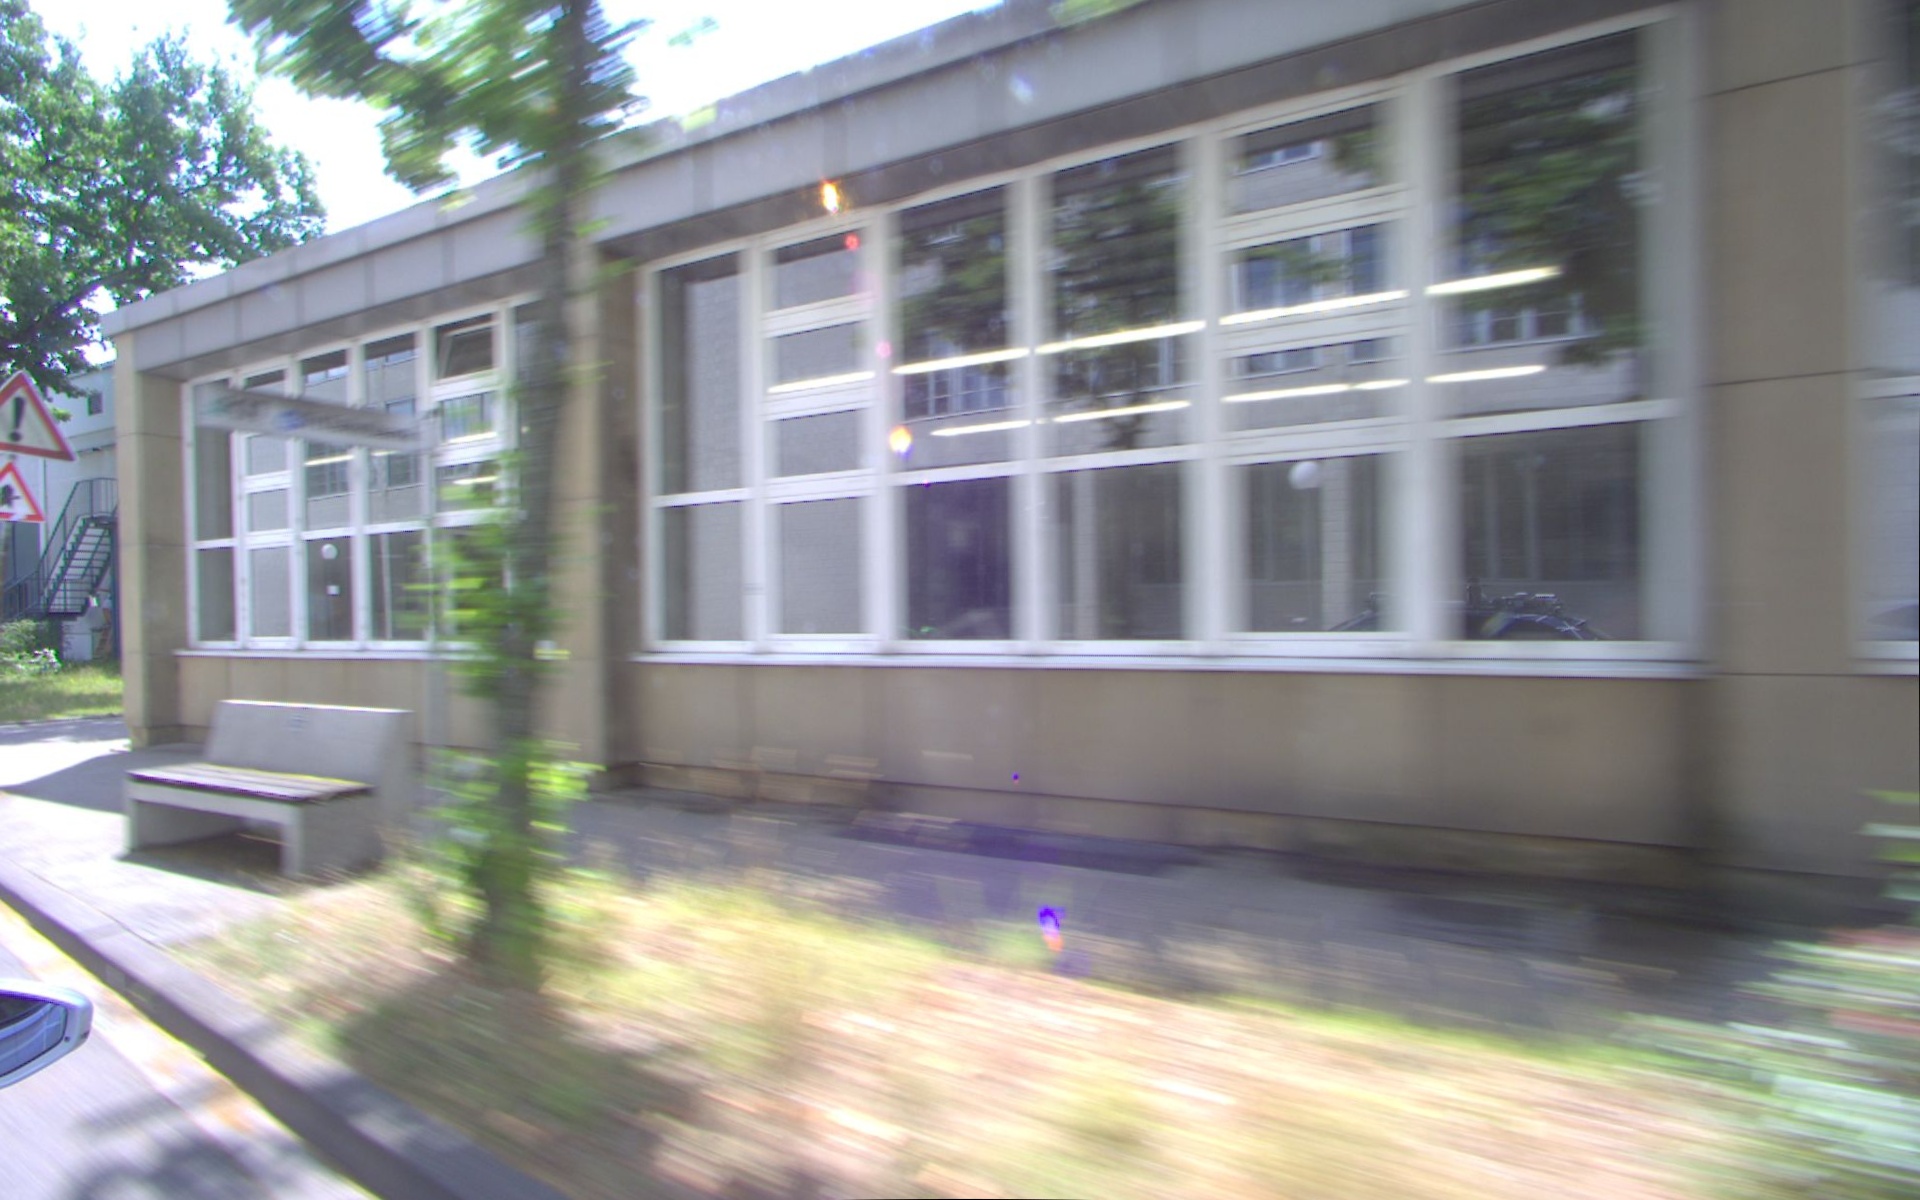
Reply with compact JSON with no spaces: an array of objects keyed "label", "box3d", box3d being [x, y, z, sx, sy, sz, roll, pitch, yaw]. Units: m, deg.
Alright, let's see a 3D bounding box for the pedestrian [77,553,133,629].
[{"label":"pedestrian","box3d":[-23.550,-0.229,27.575,0.936,2.040,0.925,-1,0,33]}]
